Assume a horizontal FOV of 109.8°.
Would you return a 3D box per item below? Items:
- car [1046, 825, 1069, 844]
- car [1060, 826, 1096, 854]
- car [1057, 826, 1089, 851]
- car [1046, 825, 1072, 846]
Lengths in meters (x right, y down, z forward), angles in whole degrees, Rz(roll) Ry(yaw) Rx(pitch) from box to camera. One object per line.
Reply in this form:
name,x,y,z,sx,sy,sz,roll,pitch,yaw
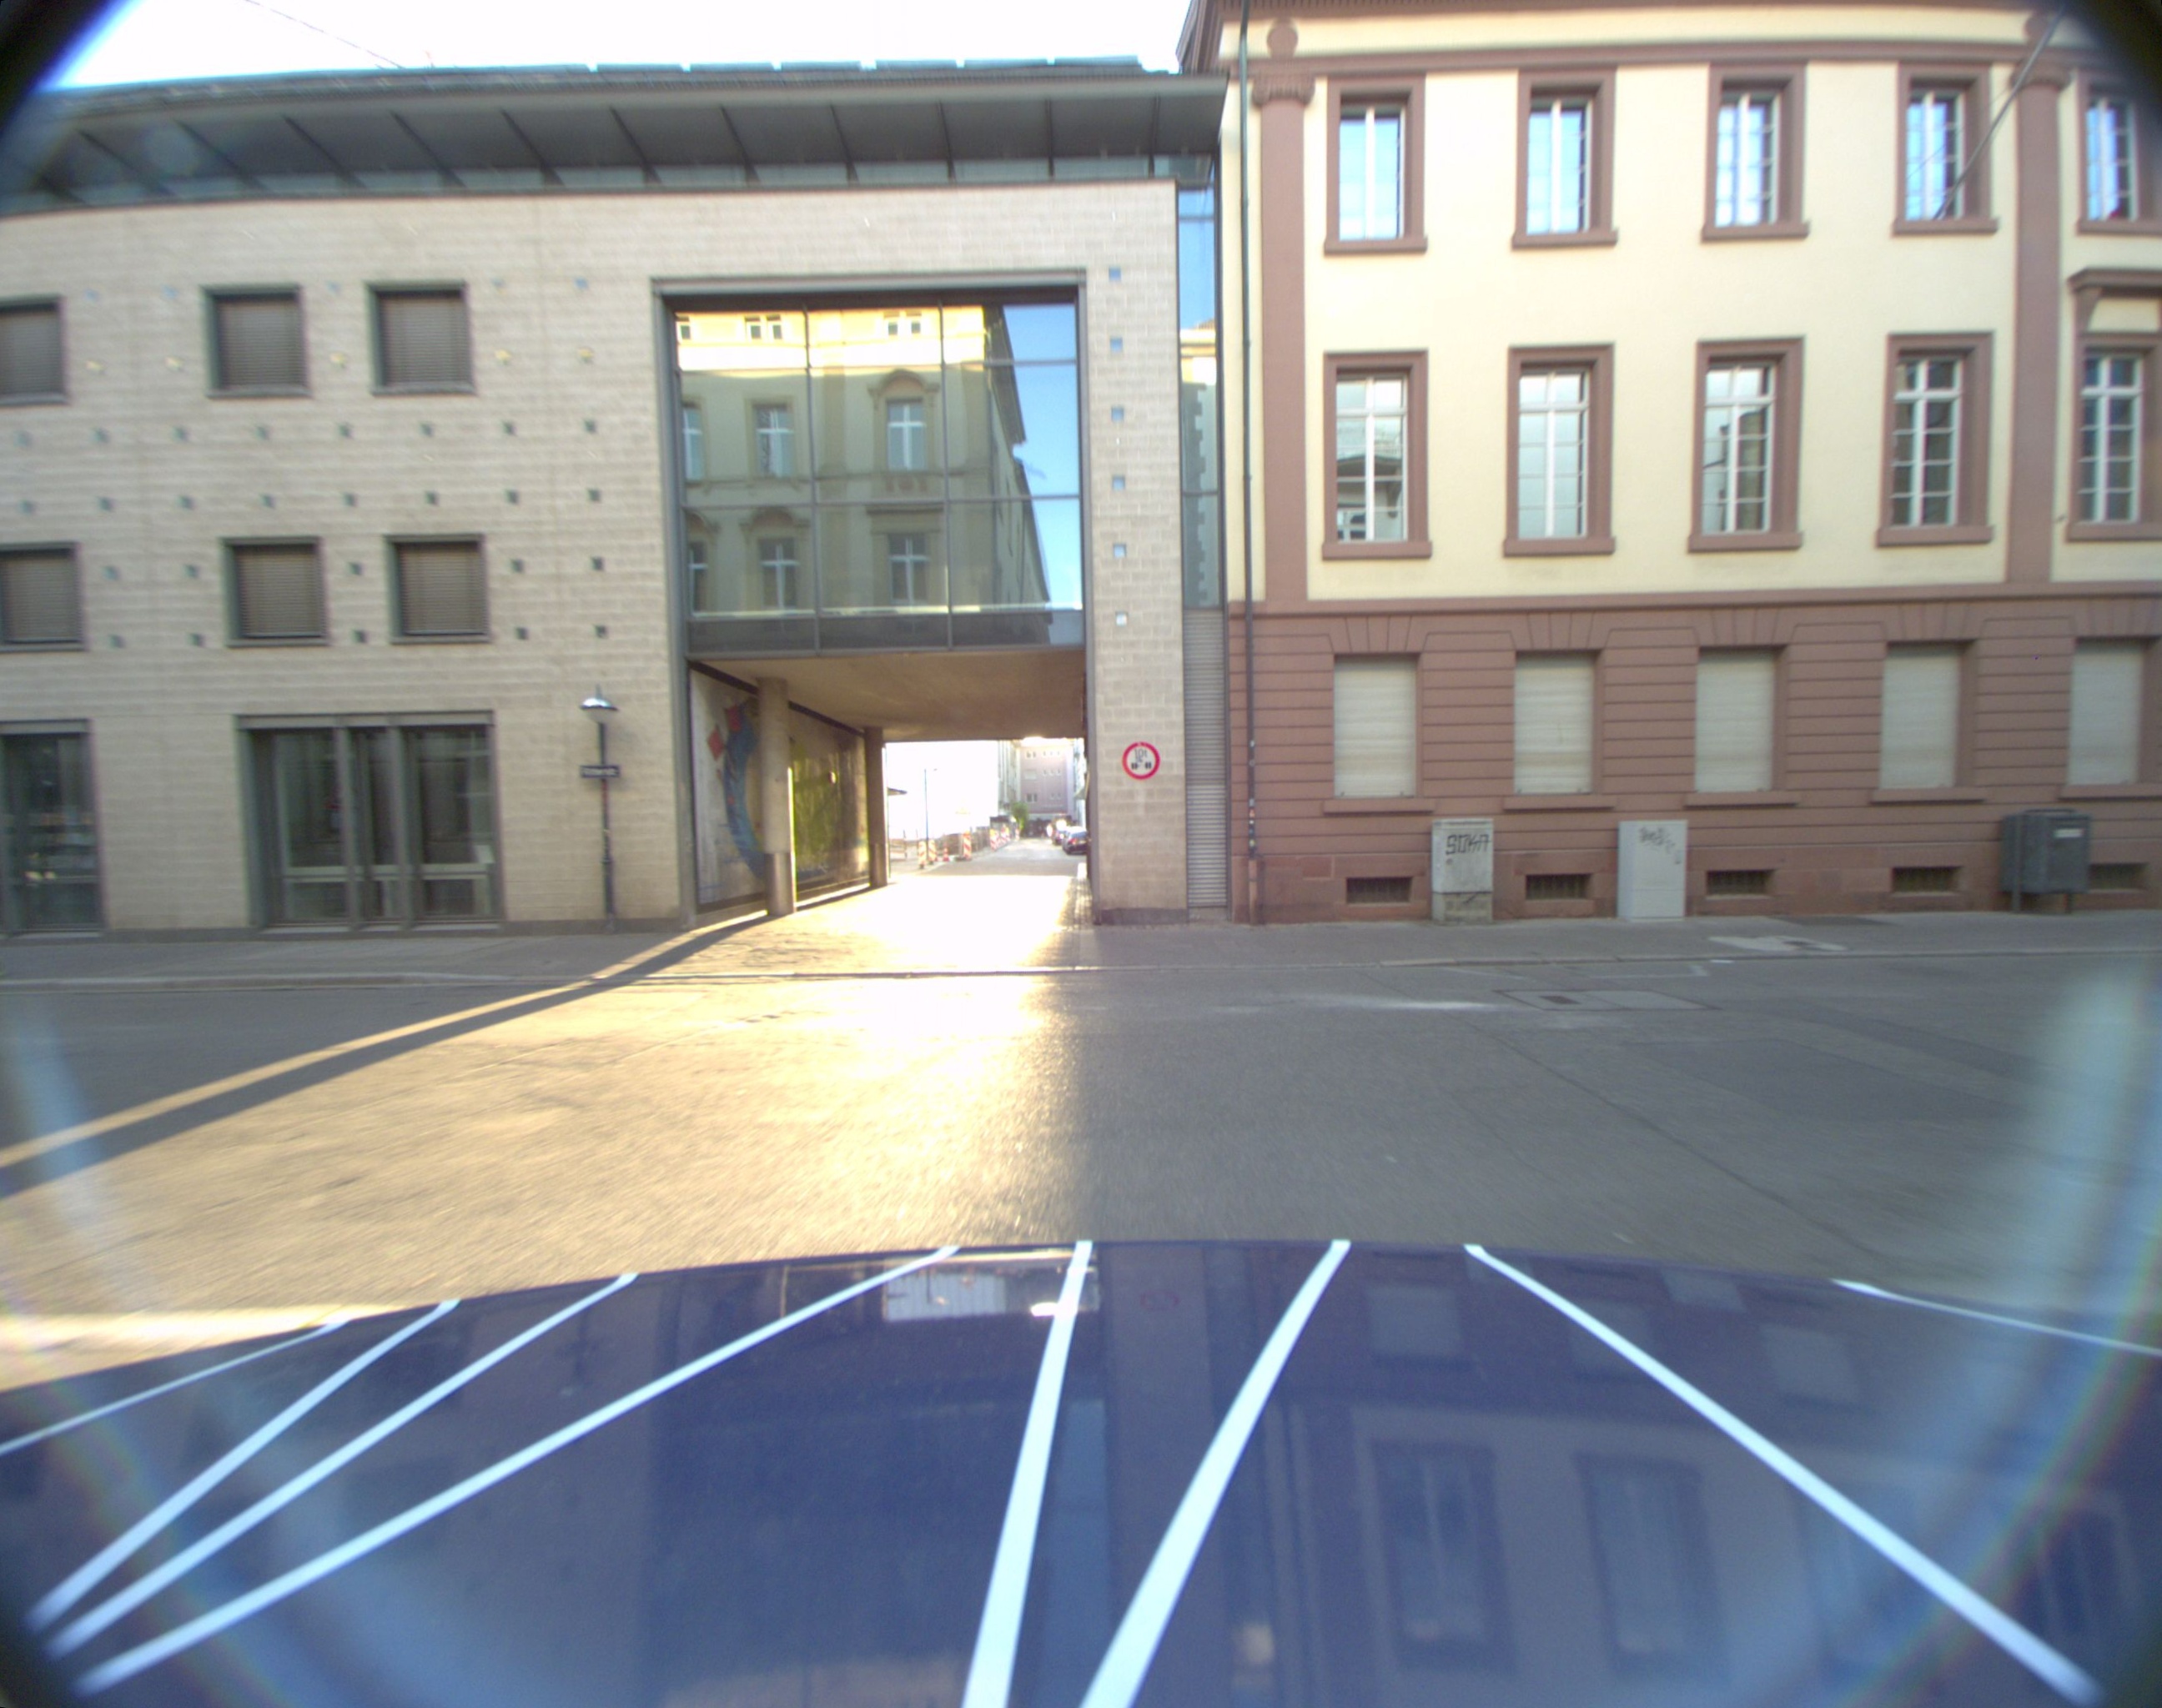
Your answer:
car,-1.942,-1.622,61.929,1.602,1.485,3.441,-2,2,-7
car,-0.208,-0.839,43.038,1.602,1.485,3.441,-2,2,-7
car,-0.509,-0.992,47.271,1.602,1.485,3.441,-2,2,-7
car,-1.684,-1.399,56.955,1.602,1.485,3.441,-2,2,-7
